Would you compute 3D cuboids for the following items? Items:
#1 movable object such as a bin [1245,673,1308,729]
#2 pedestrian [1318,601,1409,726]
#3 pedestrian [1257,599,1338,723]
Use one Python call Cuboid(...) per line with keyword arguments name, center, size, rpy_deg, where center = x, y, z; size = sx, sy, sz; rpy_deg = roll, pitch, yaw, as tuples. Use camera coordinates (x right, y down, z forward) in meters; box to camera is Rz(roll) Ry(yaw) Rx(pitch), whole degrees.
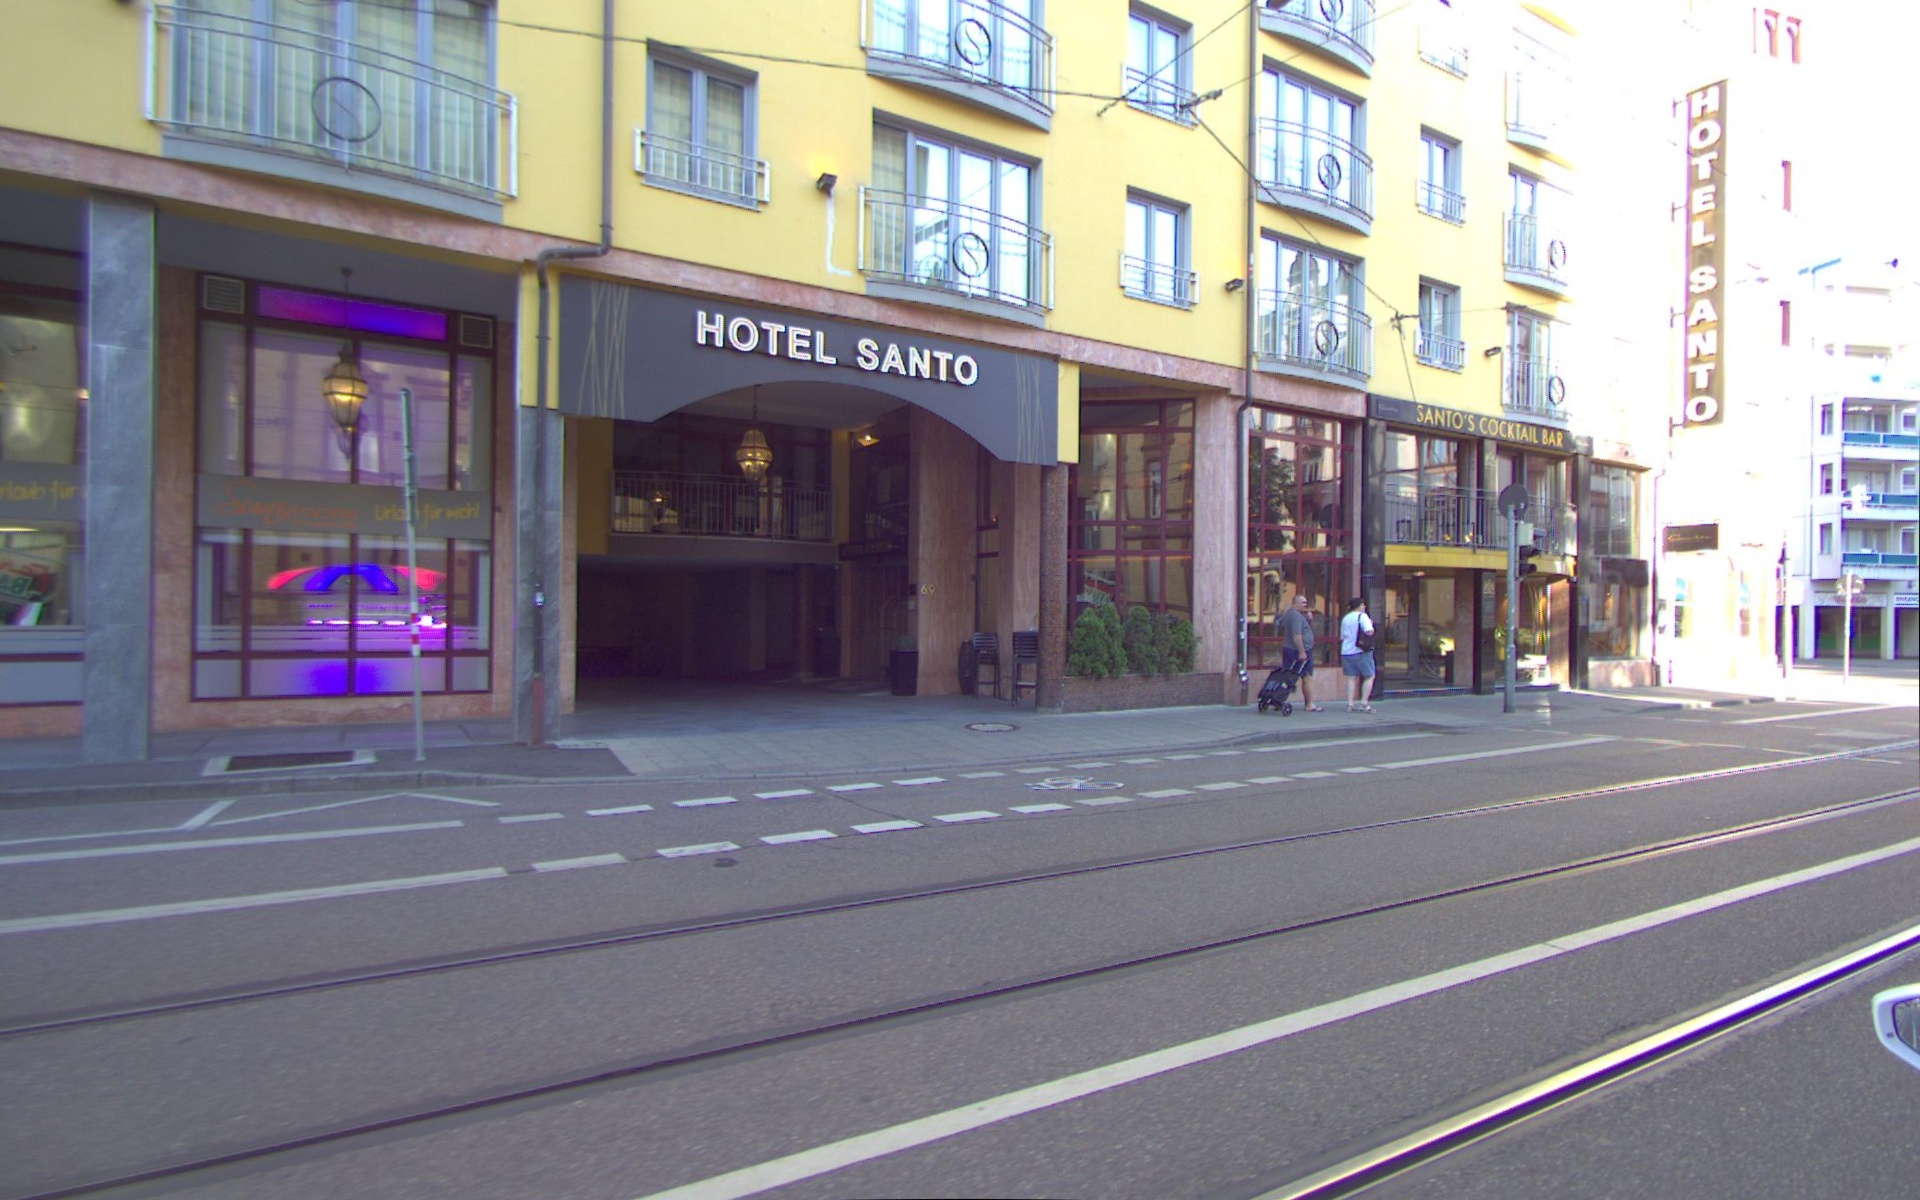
Cuboid(name="movable object such as a bin", center=(4.642, 1.469, 14.713), size=(0.831, 0.726, 0.381), rpy_deg=(1, 4, -30))
Cuboid(name="pedestrian", center=(6.334, 0.967, 15.774), size=(1.034, 1.843, 0.747), rpy_deg=(0, 4, -31))
Cuboid(name="pedestrian", center=(5.184, 0.907, 15.445), size=(0.741, 1.795, 0.793), rpy_deg=(0, 4, -31))
